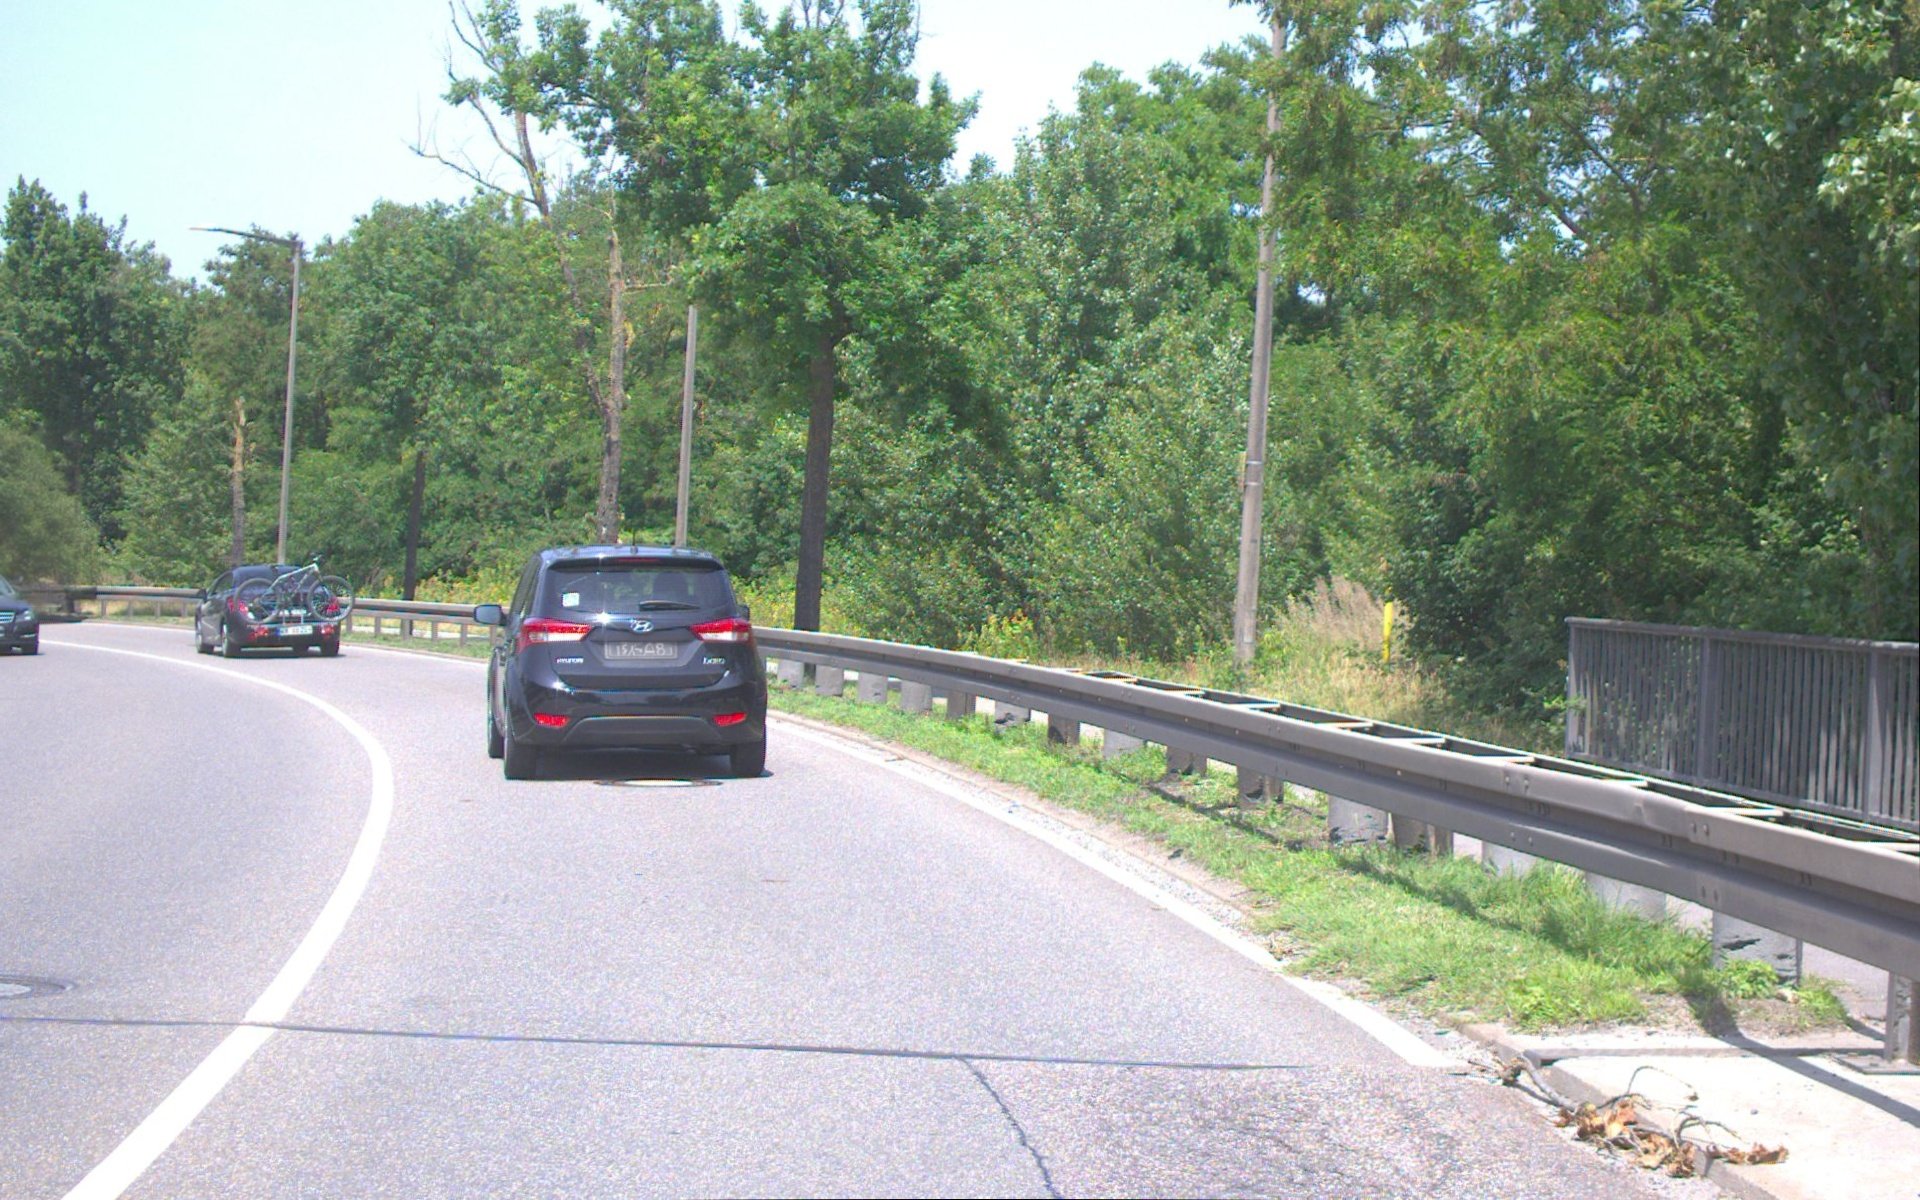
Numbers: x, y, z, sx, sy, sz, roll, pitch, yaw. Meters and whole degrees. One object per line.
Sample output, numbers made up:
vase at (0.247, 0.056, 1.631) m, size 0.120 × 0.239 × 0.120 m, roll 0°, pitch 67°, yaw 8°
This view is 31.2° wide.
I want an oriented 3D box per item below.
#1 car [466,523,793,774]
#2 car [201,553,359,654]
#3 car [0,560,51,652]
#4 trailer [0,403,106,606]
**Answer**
car at (-2.423, 0.280, 24.347) m, size 1.921 × 1.568 × 3.893 m, roll 0°, pitch 2°, yaw -11°
car at (-10.593, 0.035, 53.343) m, size 2.011 × 1.424 × 3.778 m, roll 0°, pitch 2°, yaw -17°
car at (-16.054, 0.080, 56.389) m, size 1.675 × 1.438 × 4.130 m, roll -1°, pitch 1°, yaw -22°
trailer at (-23.132, -2.271, 79.182) m, size 3.569 × 4.369 × 11.442 m, roll 0°, pitch 2°, yaw -31°
